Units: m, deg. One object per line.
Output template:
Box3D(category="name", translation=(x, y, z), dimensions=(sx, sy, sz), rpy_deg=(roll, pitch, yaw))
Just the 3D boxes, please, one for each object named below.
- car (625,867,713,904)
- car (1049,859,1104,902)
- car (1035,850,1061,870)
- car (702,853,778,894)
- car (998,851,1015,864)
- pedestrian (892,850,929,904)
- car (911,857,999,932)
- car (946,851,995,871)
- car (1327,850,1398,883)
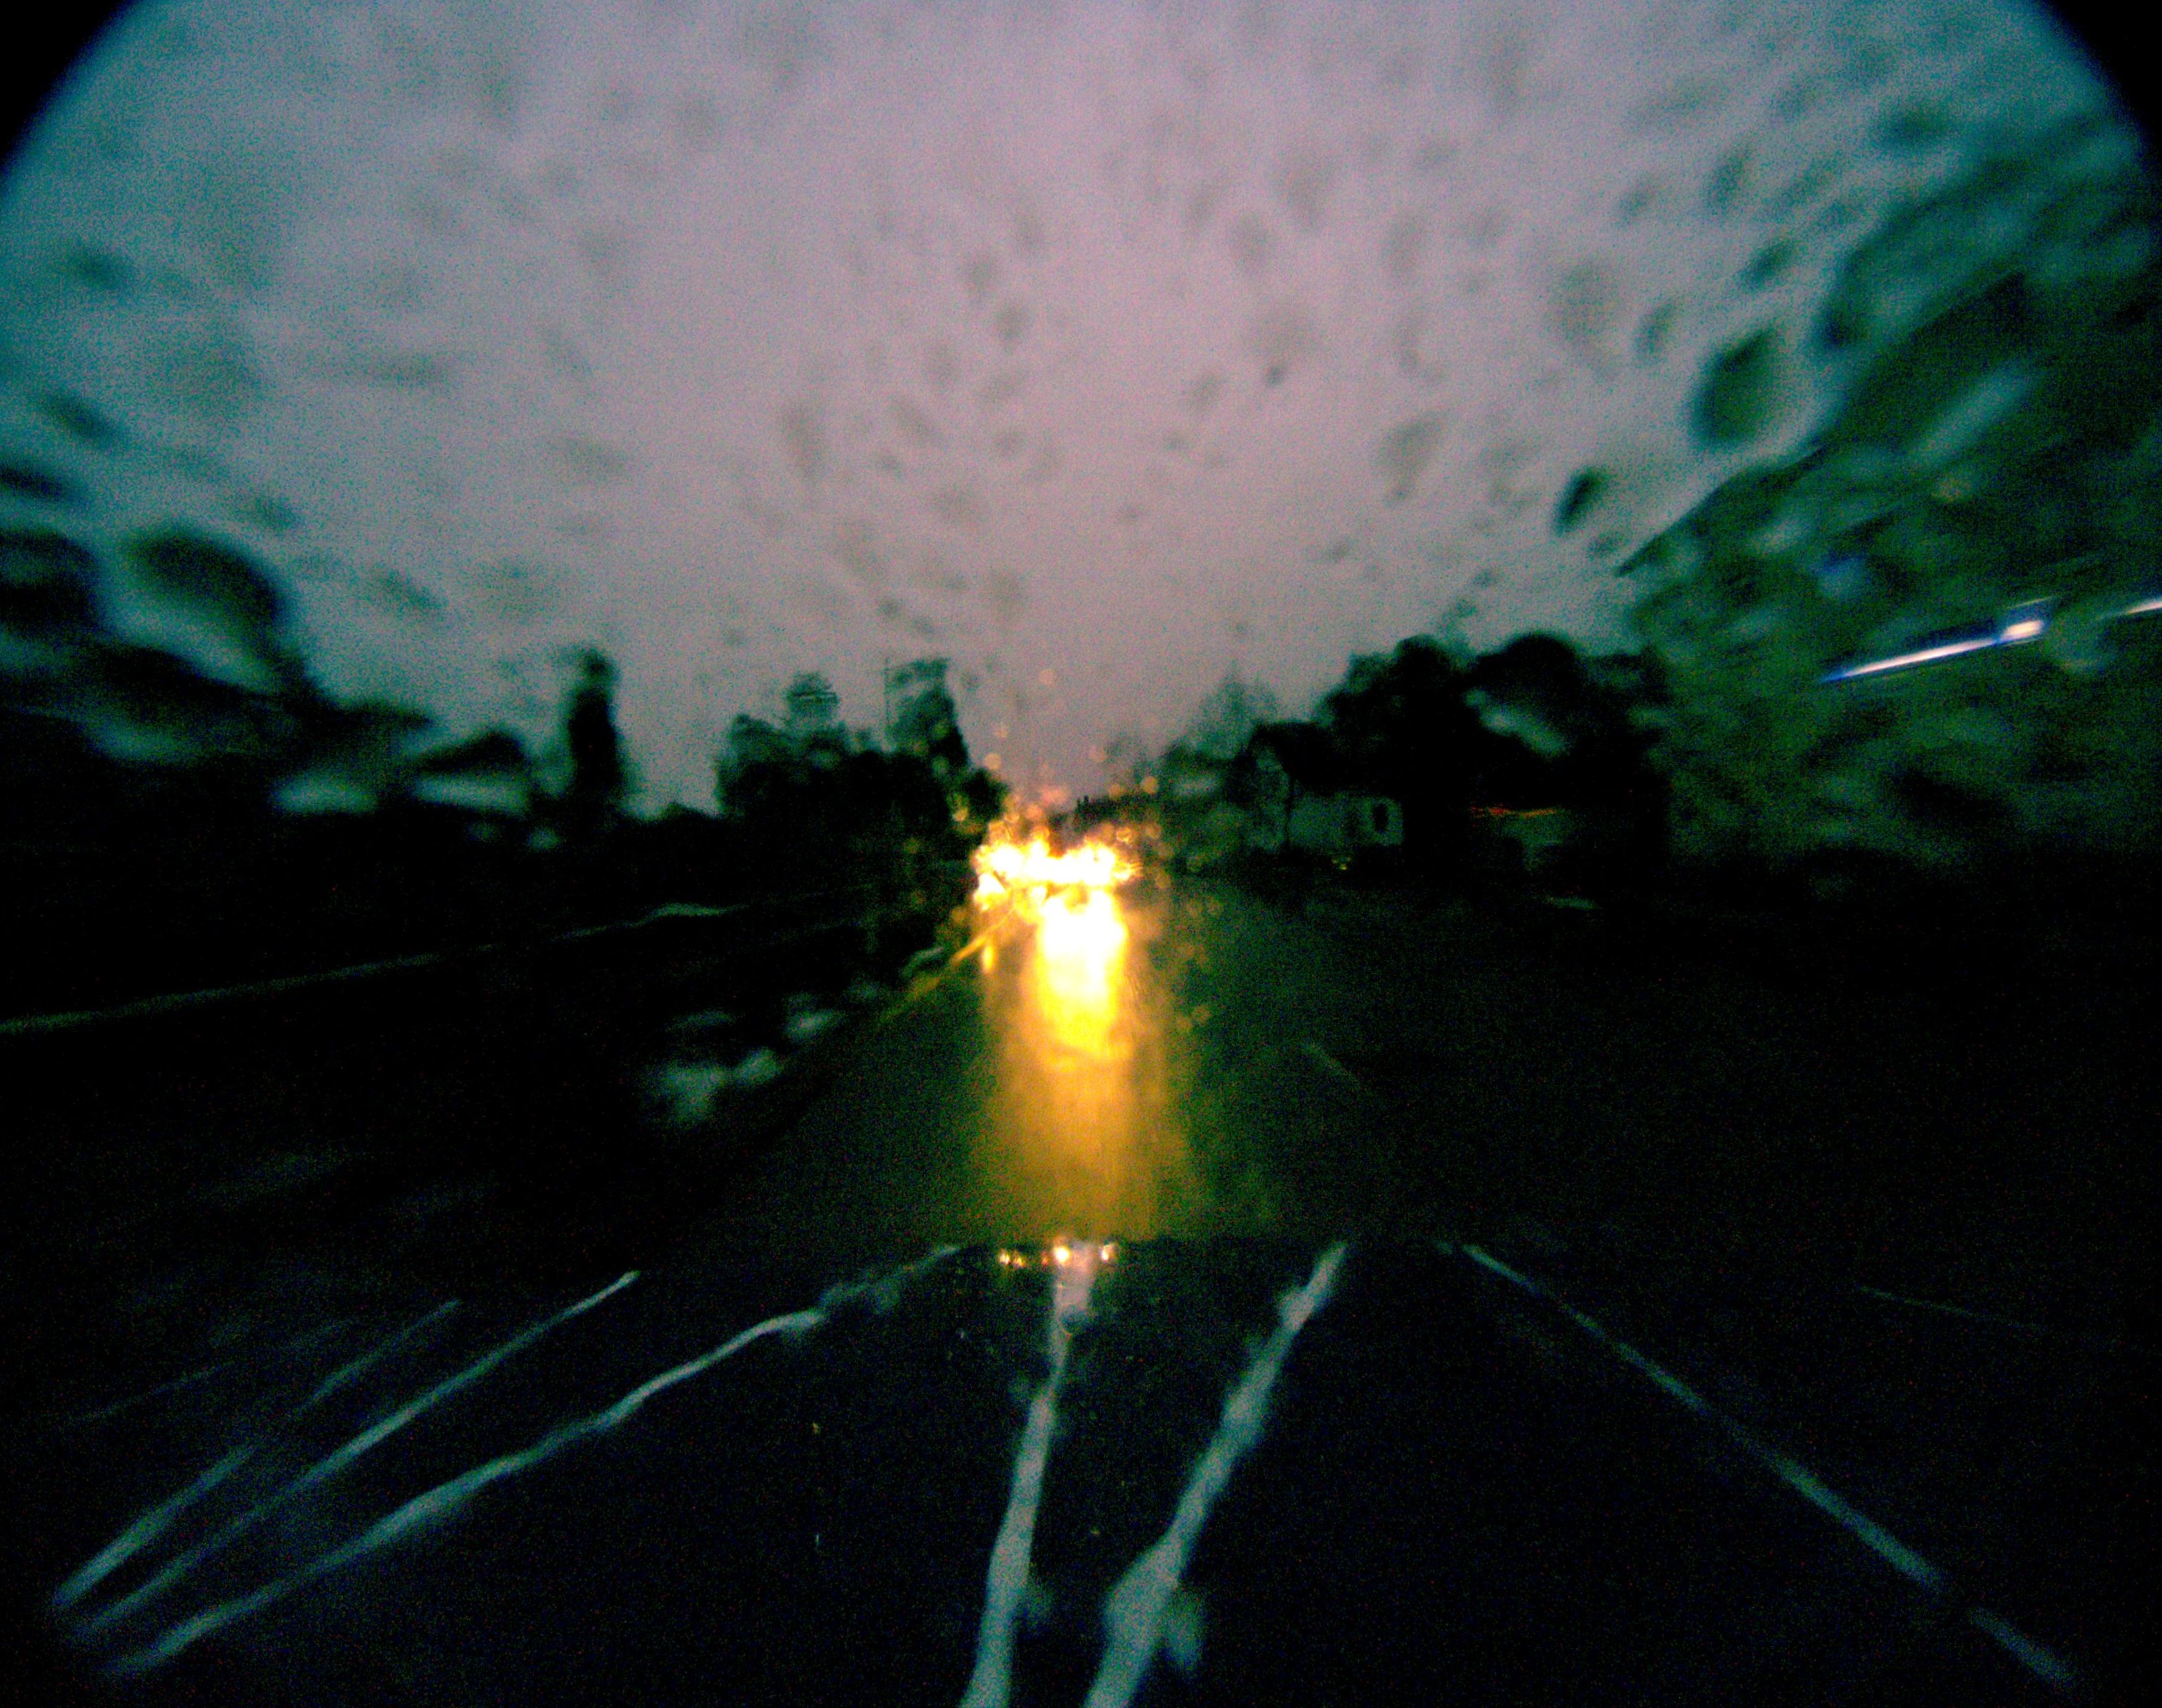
Box3D(category="car", translation=(-17.620, 1.303, 32.696), dimensions=(1.810, 1.367, 3.998), rpy_deg=(-1, 1, -4))
Box3D(category="car", translation=(-0.154, 0.985, 30.057), dimensions=(1.998, 1.575, 4.000), rpy_deg=(-1, 0, 0))
Box3D(category="car", translation=(-2.880, 0.529, 66.161), dimensions=(1.999, 1.660, 3.998), rpy_deg=(-2, 0, -5))
Box3D(category="car", translation=(-15.122, 0.816, 33.929), dimensions=(1.947, 1.653, 4.226), rpy_deg=(-1, 1, -8))
Box3D(category="car", translation=(-9.662, 0.391, 98.004), dimensions=(1.777, 1.609, 3.868), rpy_deg=(-2, 1, -11))
Box3D(category="pedestrian", translation=(-5.557, 0.729, 24.785), dimensions=(0.990, 1.732, 1.055), rpy_deg=(0, 1, -2))
Box3D(category="car", translation=(-3.156, 0.967, 19.602), dimensions=(1.653, 1.532, 3.388), rpy_deg=(2, 3, 0))
Box3D(category="car", translation=(-10.107, 0.666, 69.486), dimensions=(4.338, 1.722, 1.998), rpy_deg=(1, 0, -12))
Box3D(category="car", translation=(12.920, 0.534, 35.122), dimensions=(1.786, 1.358, 3.999), rpy_deg=(-2, 1, 0))
